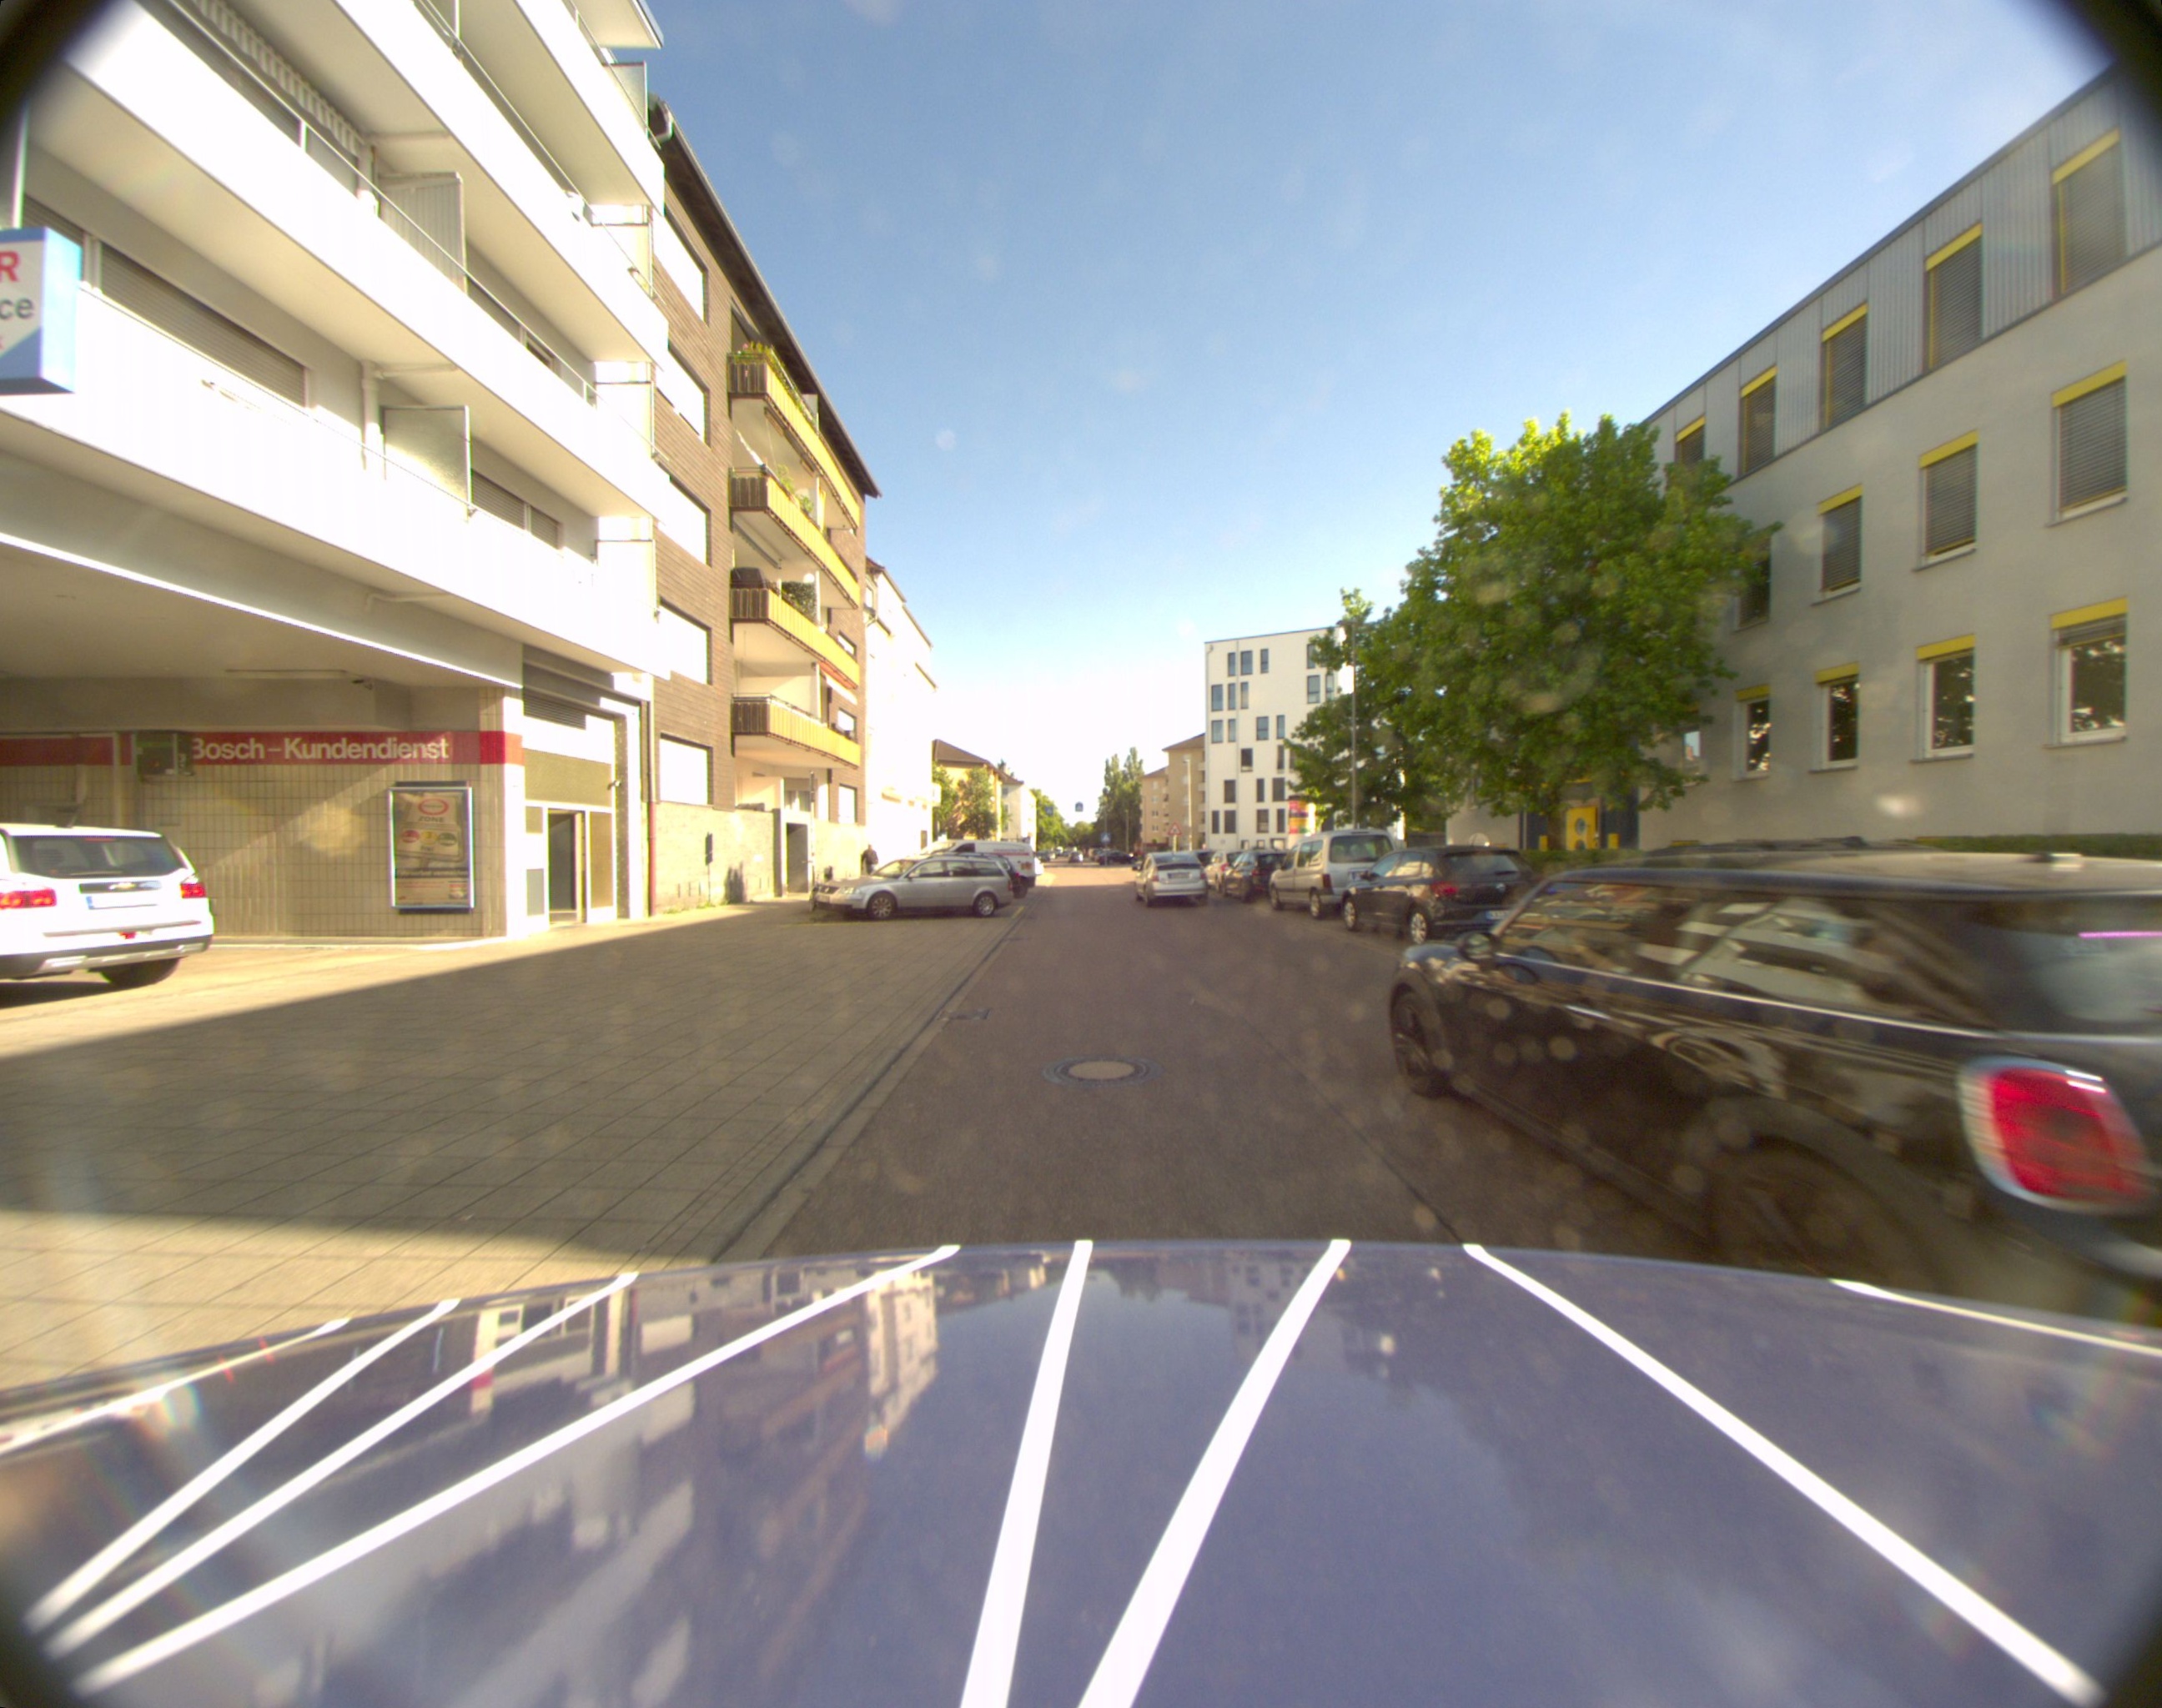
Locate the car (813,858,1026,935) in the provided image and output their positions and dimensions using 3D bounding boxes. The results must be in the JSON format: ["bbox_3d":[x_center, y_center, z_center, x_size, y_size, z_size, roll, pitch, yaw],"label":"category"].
[{"bbox_3d":[-3.656,0.890,17.800,4.656,1.458,1.685,-1,2,-43],"label":"car"}]

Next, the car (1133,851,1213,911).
[{"bbox_3d":[2.552,0.714,21.999,1.730,1.477,4.105,-3,0,0],"label":"car"}]

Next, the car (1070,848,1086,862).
[{"bbox_3d":[-0.378,0.109,92.836,1.841,1.496,4.135,-1,3,0],"label":"car"}]

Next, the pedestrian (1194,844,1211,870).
[{"bbox_3d":[8.127,0.211,50.755,0.977,1.704,0.875,0,1,22],"label":"pedestrian"}]

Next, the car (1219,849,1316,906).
[{"bbox_3d":[5.167,0.584,21.645,1.737,1.431,4.611,-1,1,1],"label":"car"}]

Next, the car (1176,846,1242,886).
[{"bbox_3d":[5.268,0.449,31.774,1.913,1.470,4.378,-1,1,-2],"label":"car"}]

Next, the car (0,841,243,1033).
[{"bbox_3d":[-10.855,0.645,6.823,4.402,1.504,1.979,0,1,-1],"label":"car"}]

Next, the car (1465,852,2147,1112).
[{"bbox_3d":[5.270,0.735,6.575,1.730,1.456,4.439,-1,0,1],"label":"car"}]

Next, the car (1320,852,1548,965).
[{"bbox_3d":[5.284,0.709,12.002,1.602,1.432,3.998,-1,1,-2],"label":"car"}]

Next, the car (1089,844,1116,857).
[{"bbox_3d":[3.607,-0.648,126.064,4.004,2.003,1.995,-2,3,-21],"label":"car"}]

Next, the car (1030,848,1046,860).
[{"bbox_3d":[-5.660,-0.020,99.440,1.909,1.506,3.997,0,0,-7],"label":"car"}]

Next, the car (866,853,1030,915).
[{"bbox_3d":[-3.657,0.750,21.479,1.751,1.504,4.336,2,2,45],"label":"car"}]

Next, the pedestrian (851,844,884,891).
[{"bbox_3d":[-7.378,0.450,26.325,0.834,1.584,0.889,1,2,5],"label":"pedestrian"}]

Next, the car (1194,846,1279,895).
[{"bbox_3d":[5.380,0.514,26.875,1.913,1.521,4.623,-1,1,-2],"label":"car"}]

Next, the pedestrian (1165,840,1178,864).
[{"bbox_3d":[8.282,-0.169,69.325,0.776,2.108,0.957,-2,1,-21],"label":"pedestrian"}]

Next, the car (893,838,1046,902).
[{"bbox_3d":[-3.619,0.490,25.121,4.539,1.887,2.043,1,3,-41],"label":"car"}]

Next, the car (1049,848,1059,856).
[{"bbox_3d":[-5.533,-0.416,157.285,1.999,1.685,3.997,-1,2,-2],"label":"car"}]

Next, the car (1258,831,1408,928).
[{"bbox_3d":[5.354,0.475,16.775,1.692,1.828,4.340,-1,0,-2],"label":"car"}]

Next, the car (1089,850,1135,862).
[{"bbox_3d":[3.399,0.218,82.482,4.570,1.160,1.995,-2,1,-29],"label":"car"}]

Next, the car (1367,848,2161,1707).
[{"bbox_3d":[2.736,0.829,3.190,1.744,1.504,3.728,-1,3,2],"label":"car"}]

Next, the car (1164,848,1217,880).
[{"bbox_3d":[5.194,0.455,36.535,1.794,1.402,4.222,-1,1,-2],"label":"car"}]

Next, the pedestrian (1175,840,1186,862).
[{"bbox_3d":[8.681,-0.276,66.381,0.789,1.875,0.847,0,3,15],"label":"pedestrian"}]

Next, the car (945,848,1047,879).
[{"bbox_3d":[-4.343,0.497,39.153,4.883,1.455,1.968,2,-1,-35],"label":"car"}]

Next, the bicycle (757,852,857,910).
[{"bbox_3d":[-6.210,0.590,17.383,0.704,1.246,2.266,-1,-1,27],"label":"bicycle"}]
